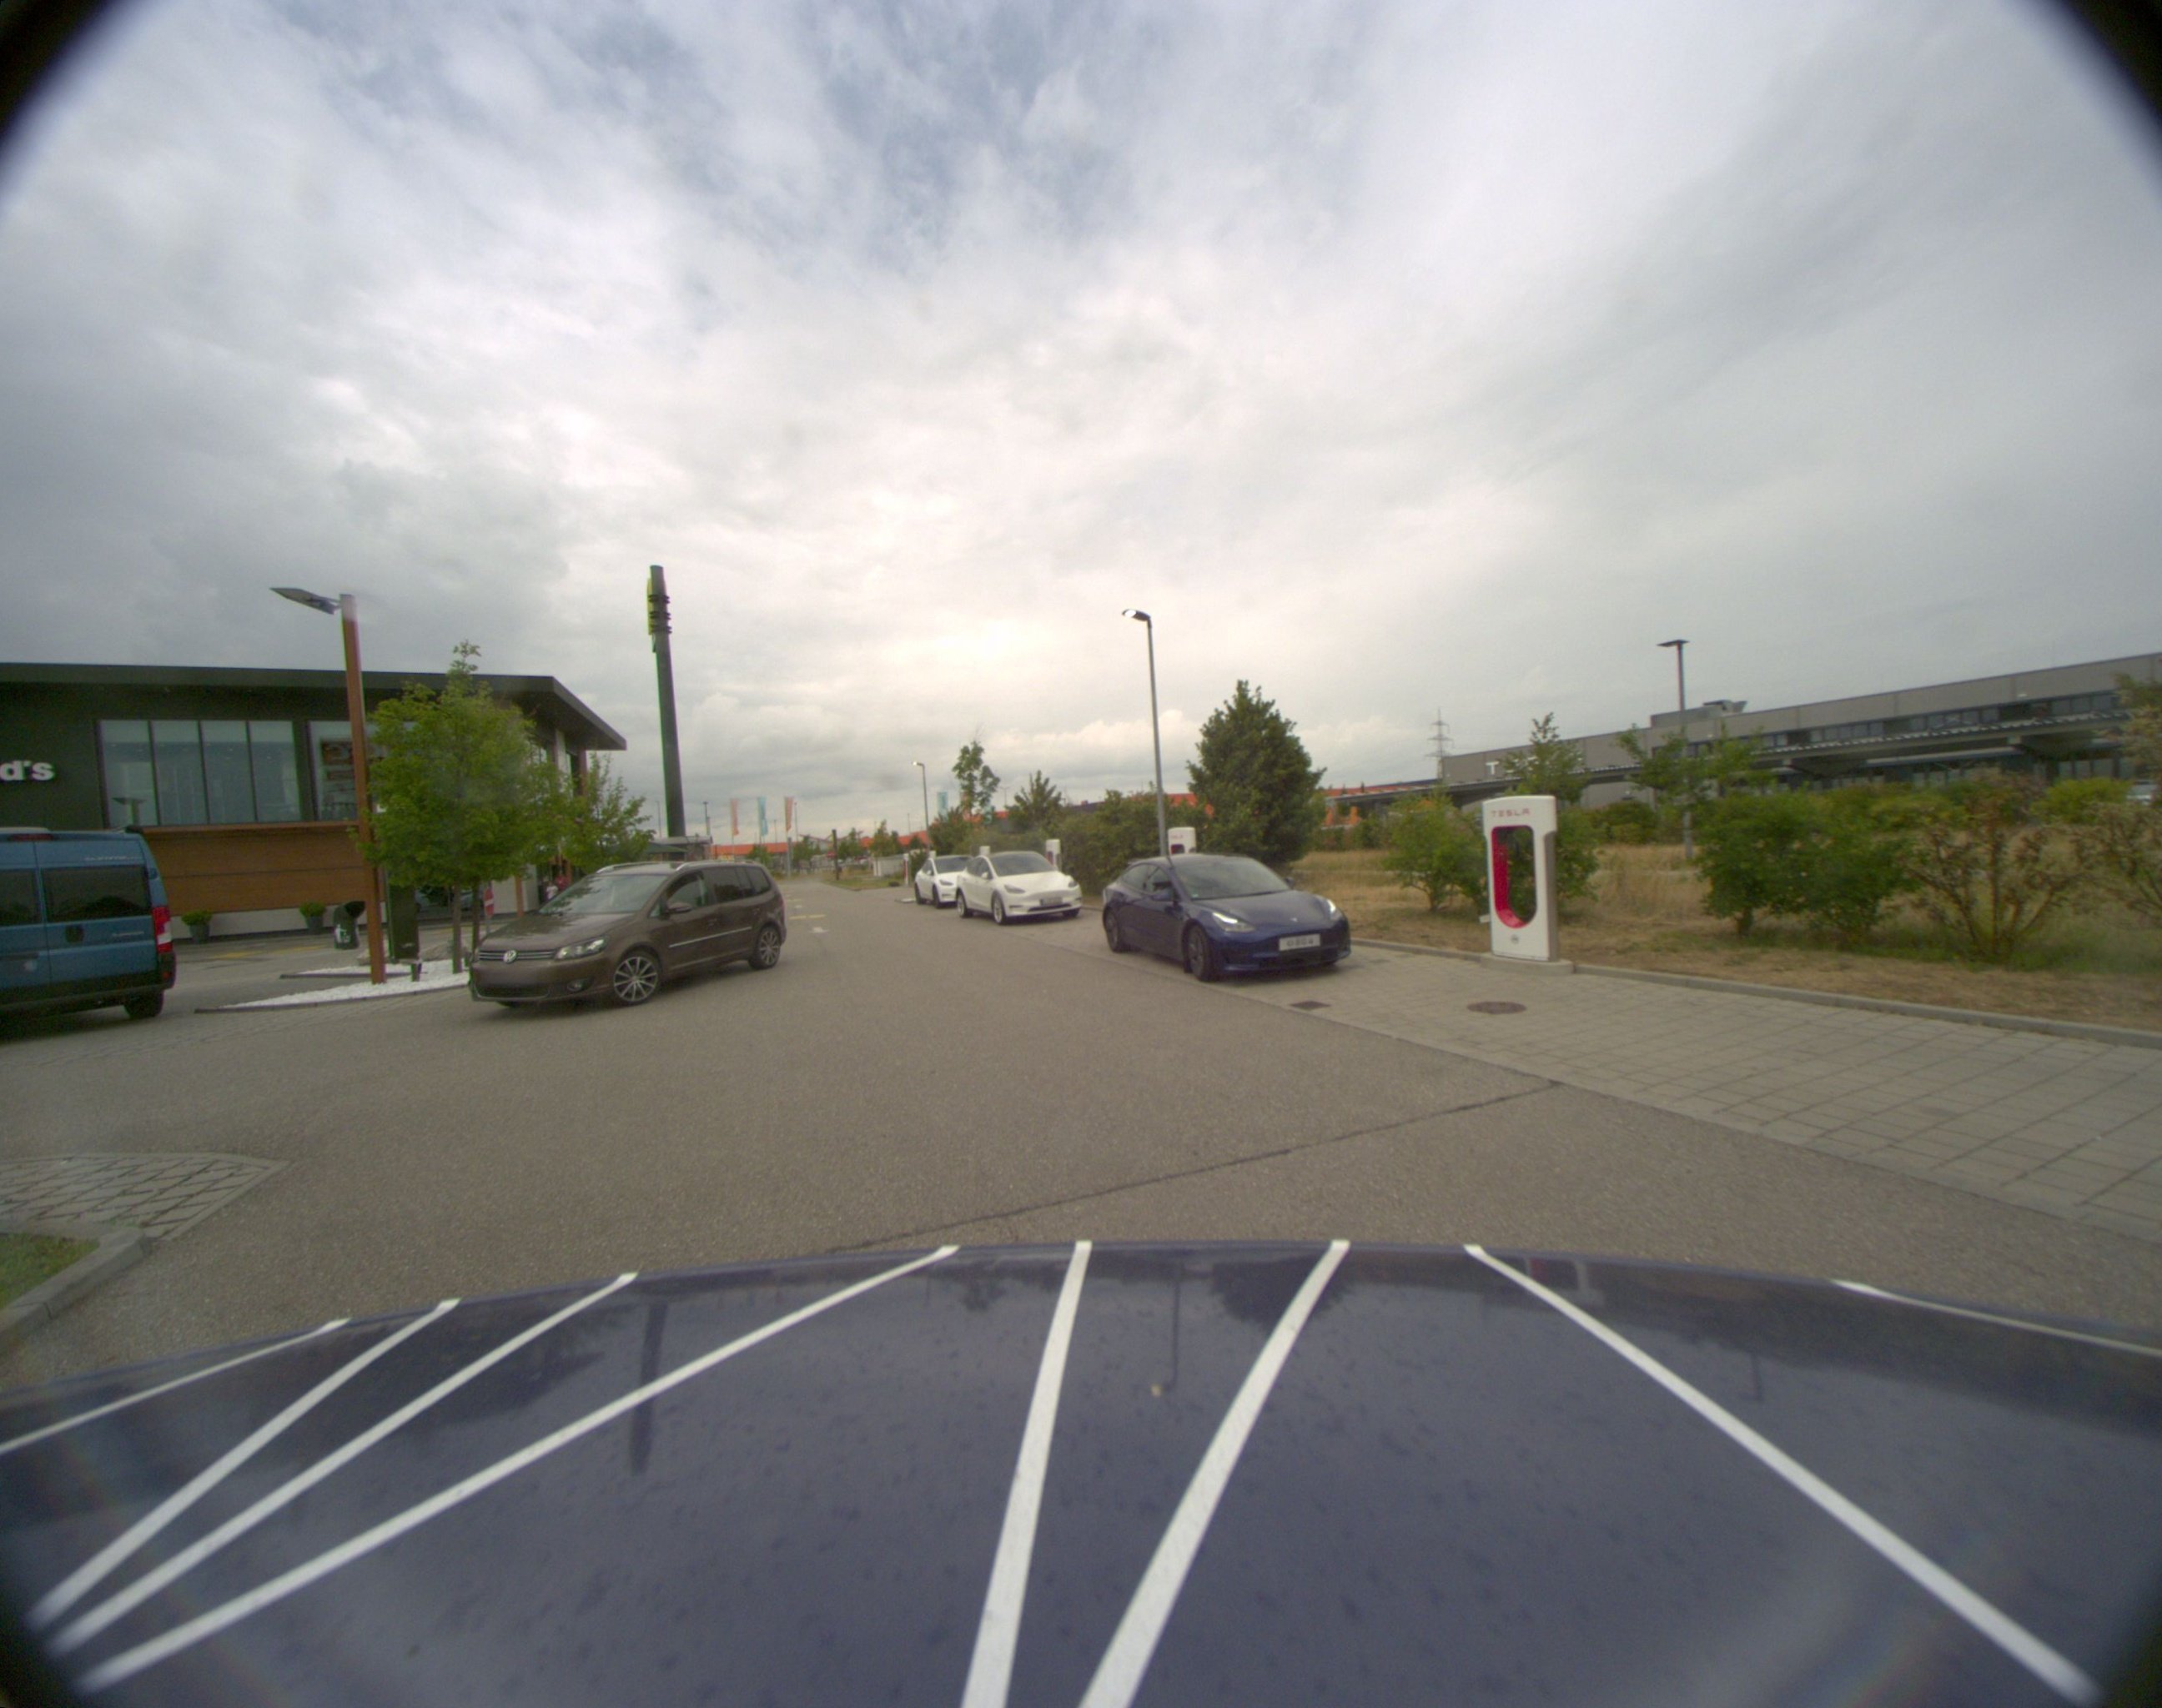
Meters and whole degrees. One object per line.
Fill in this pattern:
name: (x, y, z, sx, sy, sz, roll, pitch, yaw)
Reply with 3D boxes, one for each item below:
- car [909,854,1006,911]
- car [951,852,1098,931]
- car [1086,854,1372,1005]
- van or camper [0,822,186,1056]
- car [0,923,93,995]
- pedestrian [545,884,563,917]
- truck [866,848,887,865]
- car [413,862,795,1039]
car: (-4.270, 0.846, 25.489, 2.075, 1.593, 4.935, -4, 2, -22)
car: (-1.540, 0.835, 18.620, 2.075, 1.544, 4.469, -4, 1, -24)
car: (1.666, 0.790, 10.322, 1.835, 1.451, 4.449, -4, 1, -18)
van or camper: (-15.258, 1.201, 10.397, 6.559, 2.685, 2.176, -5, 0, 26)
car: (-26.262, 2.610, 17.388, 1.786, 1.478, 4.004, -2, 3, 22)
pedestrian: (-21.495, 1.895, 31.013, 0.434, 1.304, 0.480, -3, 1, -21)
truck: (-30.638, 0.370, 113.776, 2.151, 2.435, 5.449, -3, 1, -23)
car: (-5.735, 1.036, 9.915, 1.808, 1.680, 4.193, -2, 1, 10)
